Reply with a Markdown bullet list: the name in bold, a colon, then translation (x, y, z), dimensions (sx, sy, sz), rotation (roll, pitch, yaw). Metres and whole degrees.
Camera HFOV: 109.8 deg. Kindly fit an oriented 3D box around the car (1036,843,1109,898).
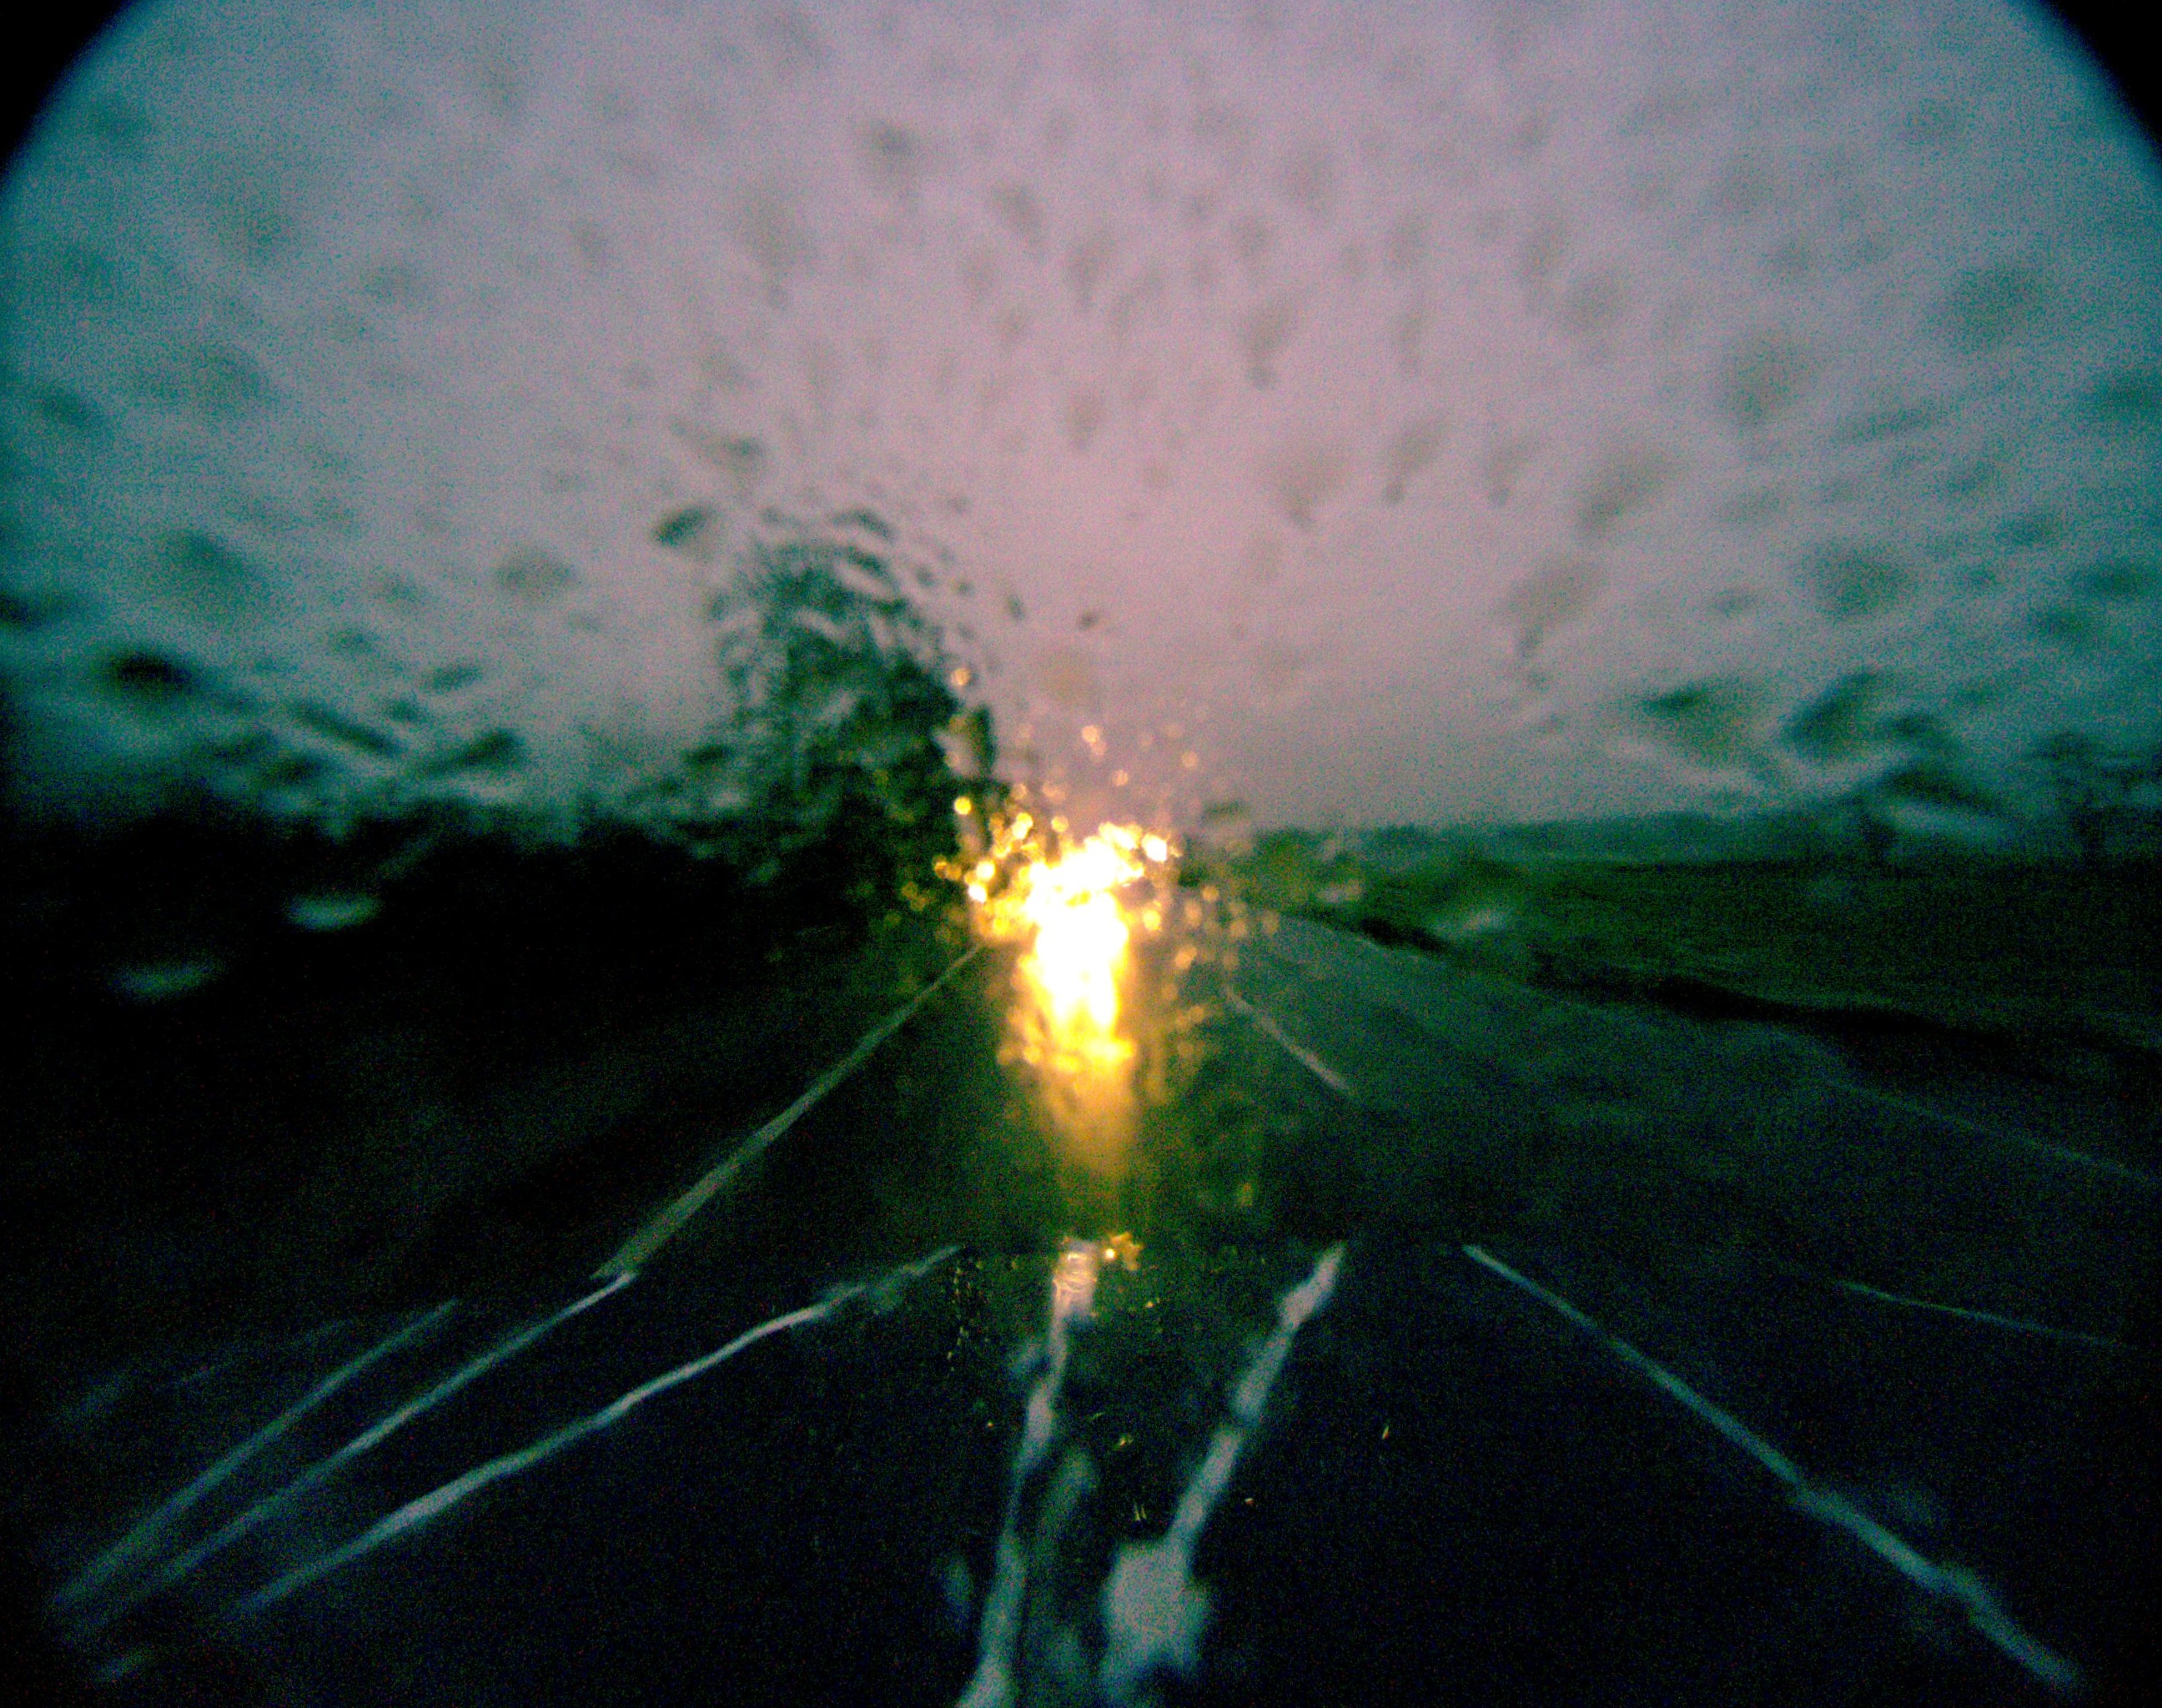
- **car**: translation (-0.295, 0.606, 31.661), dimensions (2.705, 1.974, 5.803), rotation (-2, 1, 1)
